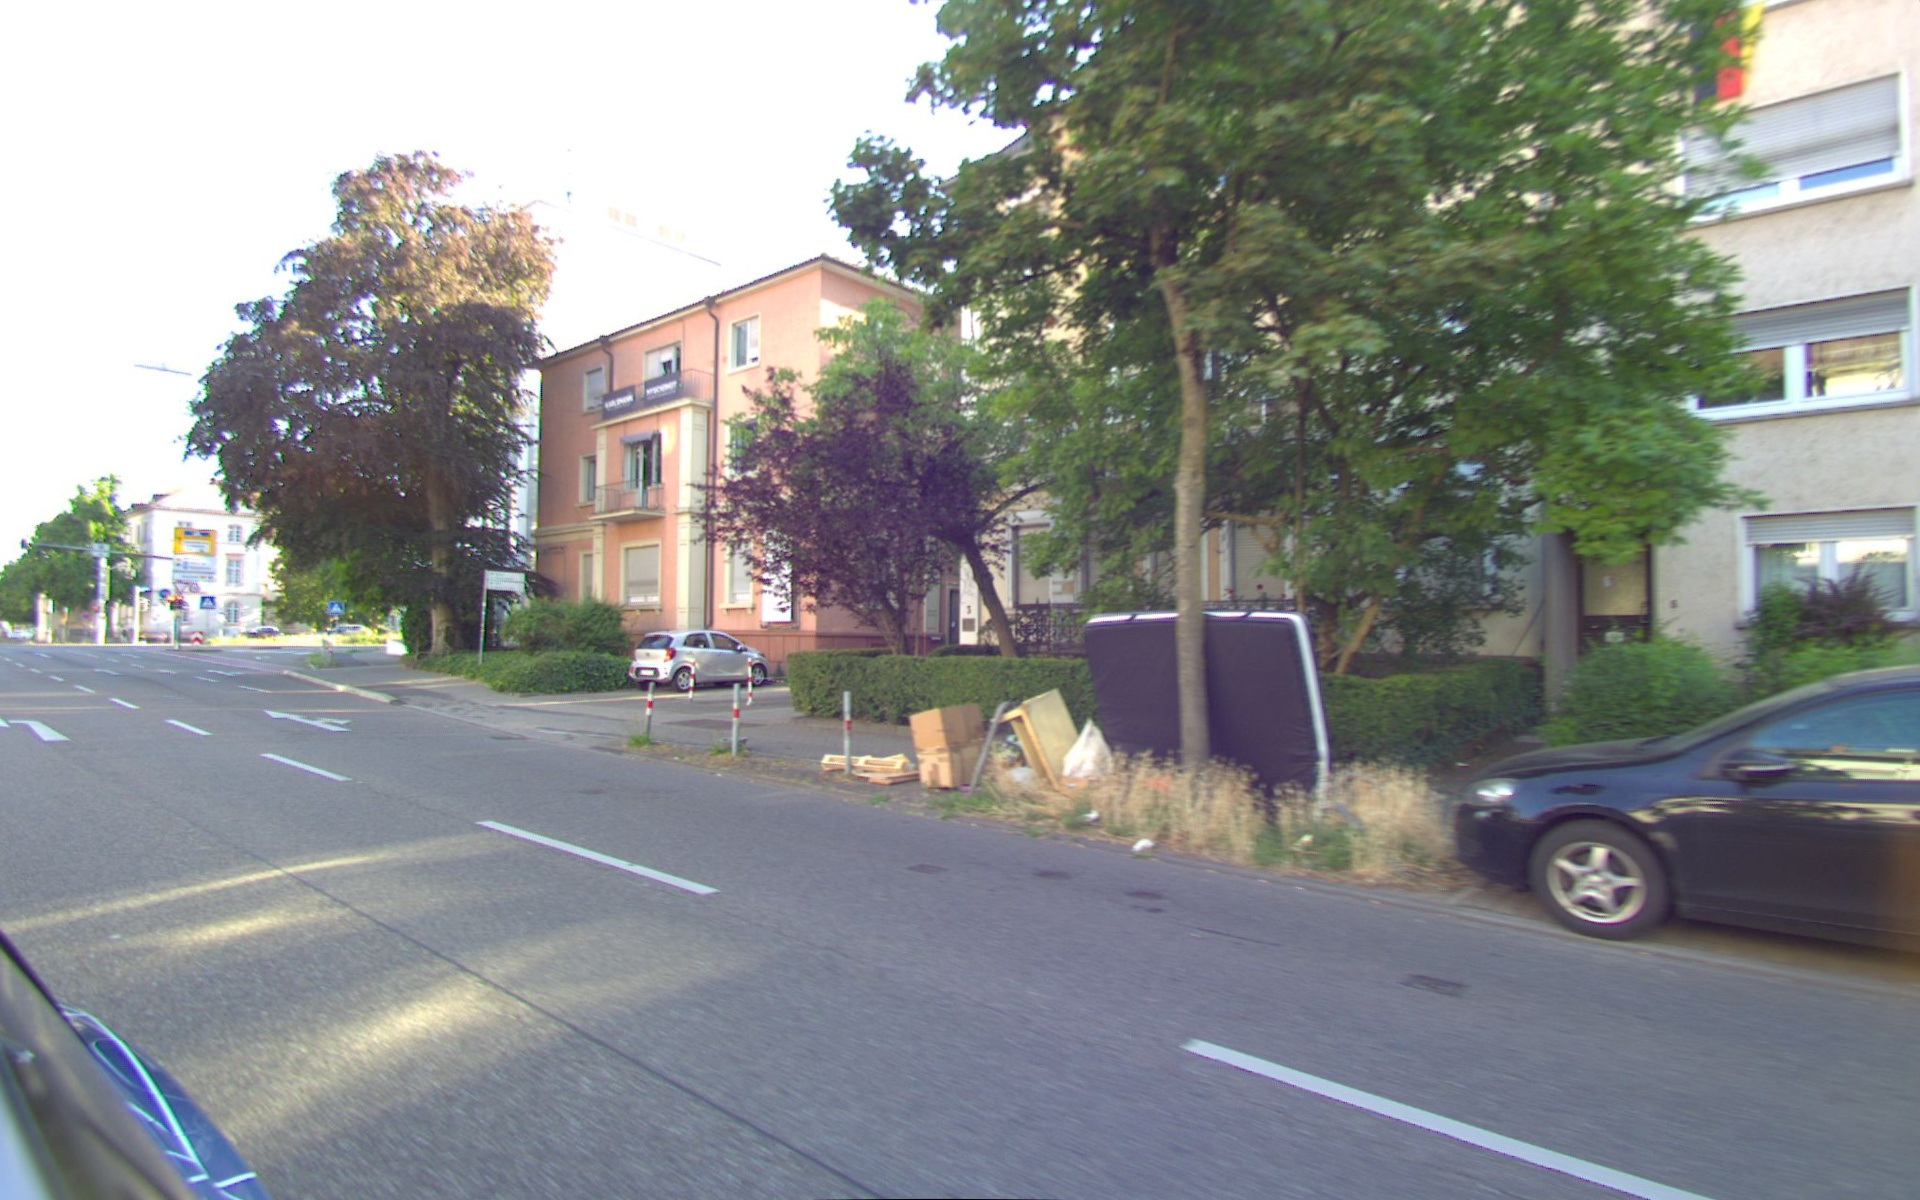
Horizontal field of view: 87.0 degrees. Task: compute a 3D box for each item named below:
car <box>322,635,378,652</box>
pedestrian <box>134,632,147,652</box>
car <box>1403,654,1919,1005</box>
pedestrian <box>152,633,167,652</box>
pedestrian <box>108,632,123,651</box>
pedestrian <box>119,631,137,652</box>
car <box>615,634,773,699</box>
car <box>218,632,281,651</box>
[{"bbox_3d":[-52.047,3.705,86.434,1.996,1.457,3.601,-2,-3,37],"label":"car"},{"bbox_3d":[-70.173,3.620,86.666,0.887,1.663,0.614,-2,-3,32],"label":"pedestrian"},{"bbox_3d":[4.729,1.052,5.166,4.195,1.514,1.732,-2,-3,41],"label":"car"},{"bbox_3d":[-69.339,3.657,87.668,0.880,1.663,0.671,-2,-3,32],"label":"pedestrian"},{"bbox_3d":[-74.458,3.649,89.205,1.081,1.721,0.671,-2,-3,33],"label":"pedestrian"},{"bbox_3d":[-74.041,3.657,90.051,1.166,1.863,0.812,-2,-3,32],"label":"pedestrian"},{"bbox_3d":[-6.598,1.632,25.400,1.813,1.497,3.464,-2,-3,37],"label":"car"},{"bbox_3d":[-56.224,3.314,80.089,1.996,1.457,3.601,-2,-3,37],"label":"car"}]
